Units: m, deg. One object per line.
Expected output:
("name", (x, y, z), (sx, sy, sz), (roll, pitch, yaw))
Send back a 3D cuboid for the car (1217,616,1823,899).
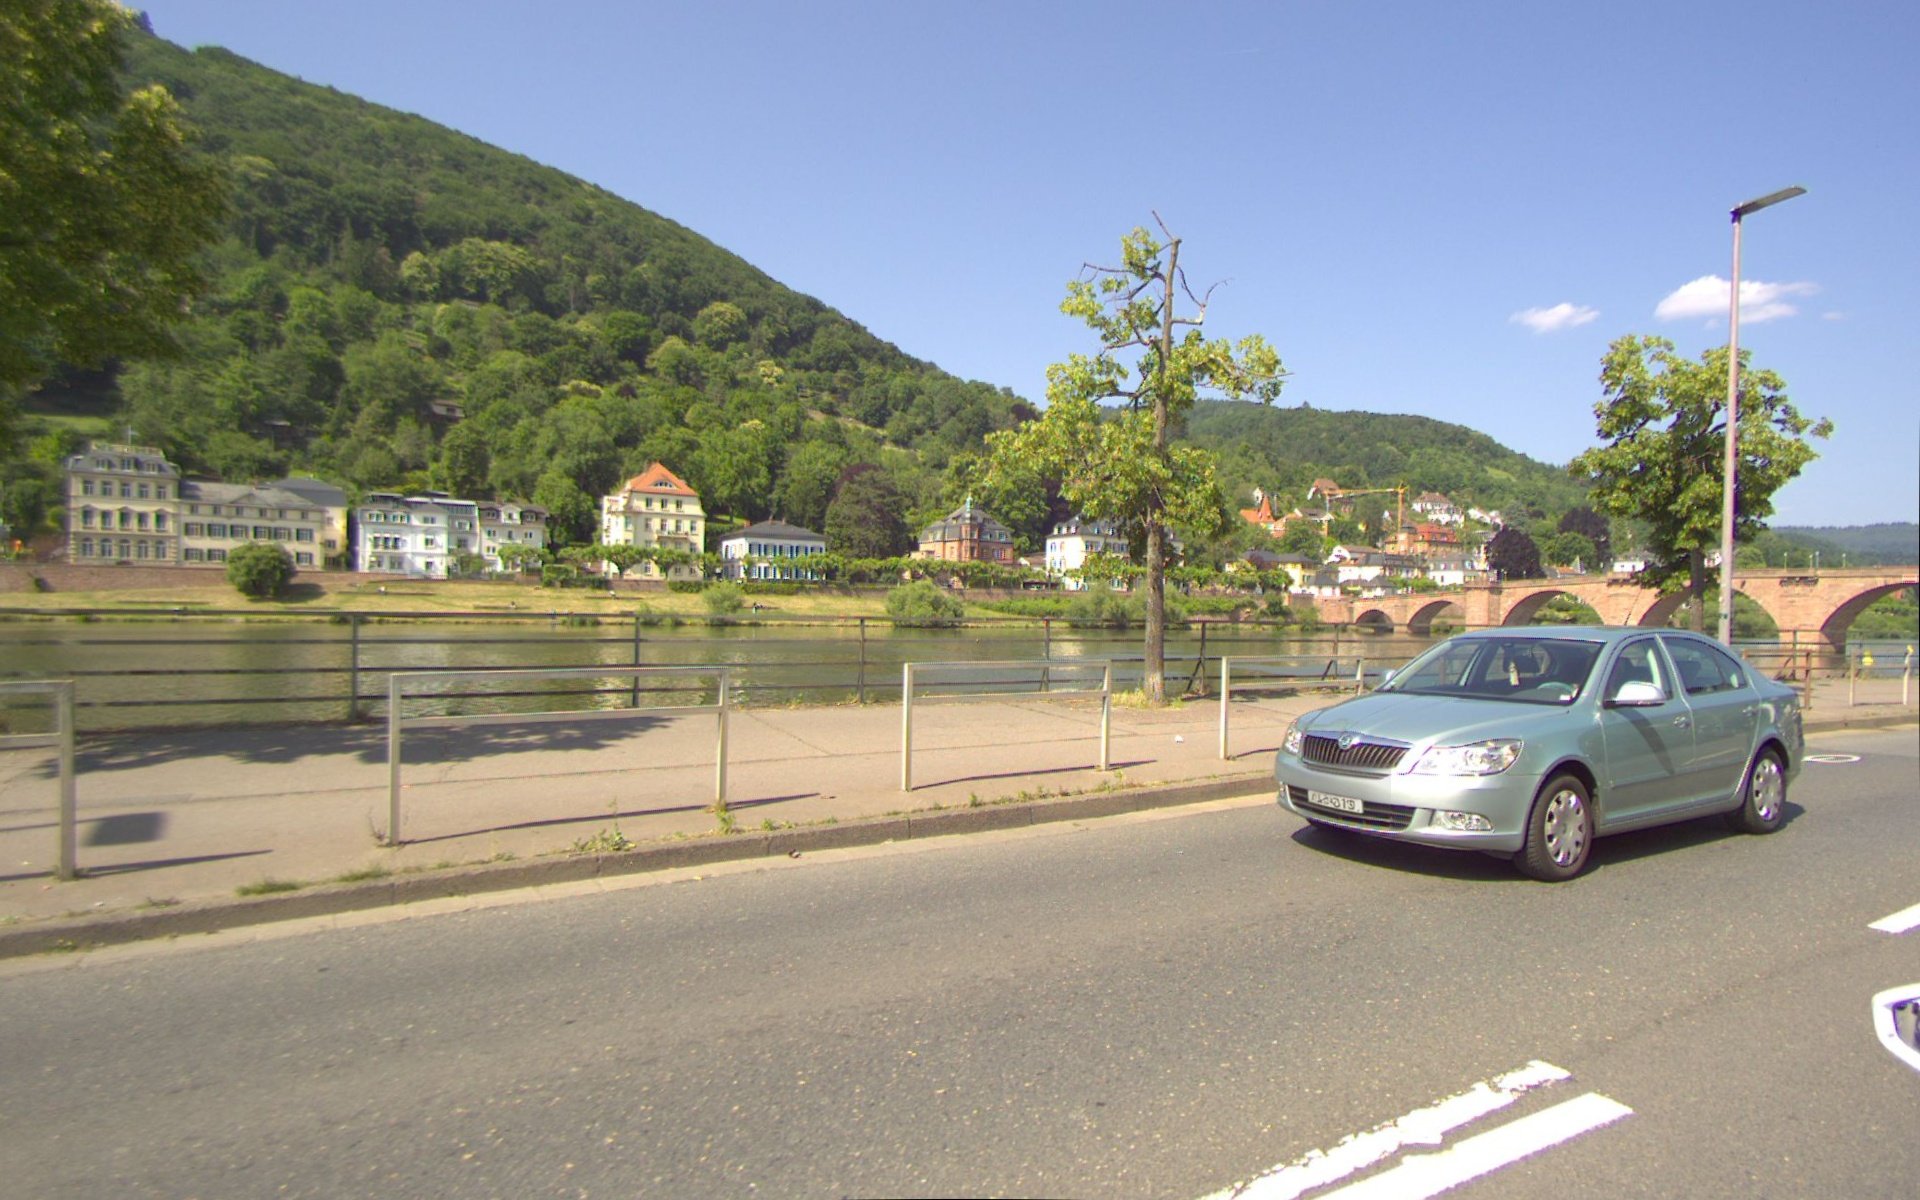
("car", (3.993, 0.840, 7.006), (4.260, 1.447, 1.805), (1, -1, -30))
